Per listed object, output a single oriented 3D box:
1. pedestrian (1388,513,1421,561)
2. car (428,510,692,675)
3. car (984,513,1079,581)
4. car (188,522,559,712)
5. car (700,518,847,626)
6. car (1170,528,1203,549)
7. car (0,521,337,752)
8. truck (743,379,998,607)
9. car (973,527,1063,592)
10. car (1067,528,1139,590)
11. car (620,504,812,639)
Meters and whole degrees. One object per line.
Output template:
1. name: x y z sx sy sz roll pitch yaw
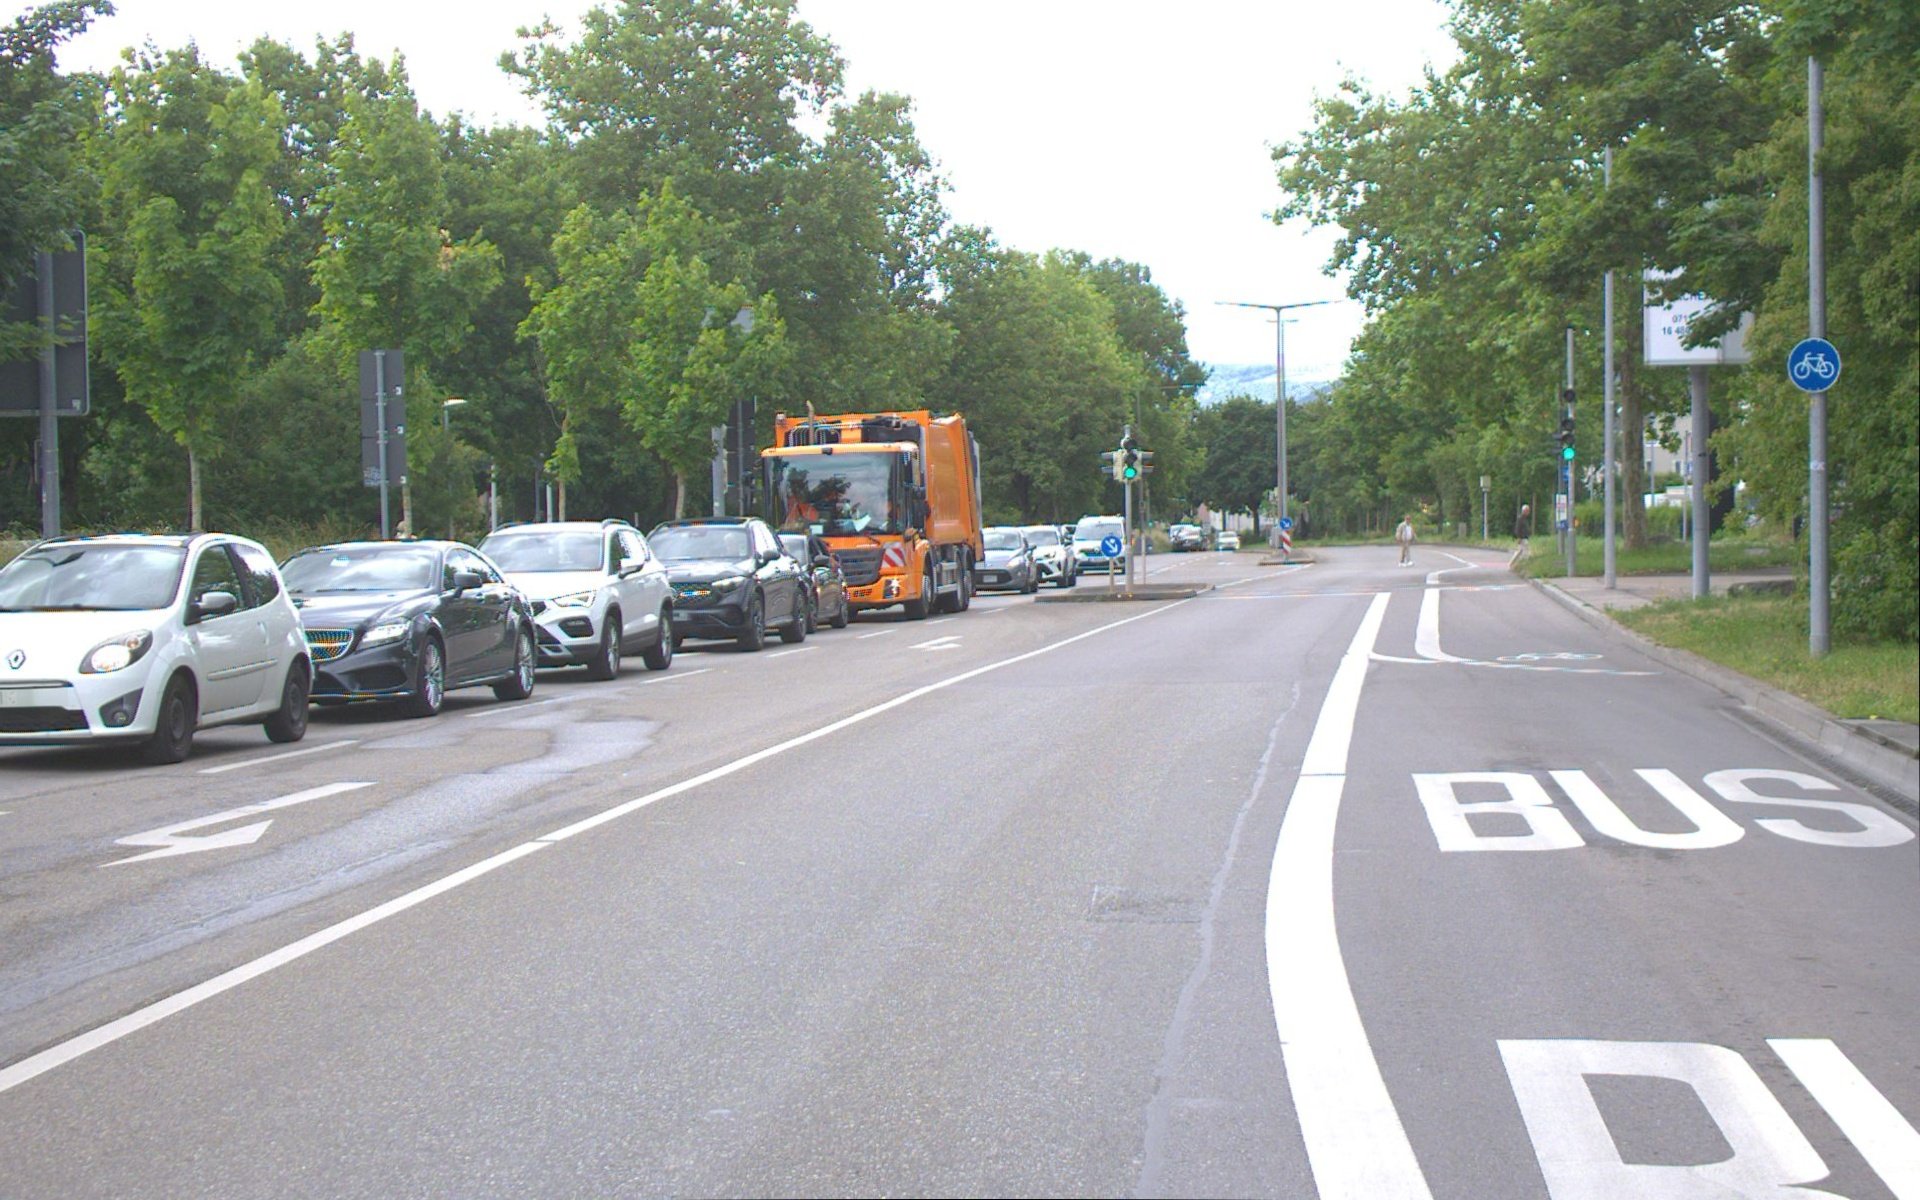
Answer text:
1. pedestrian: 13.727 -1.957 106.119 0.788 1.458 0.749 -1 1 -11
2. car: -4.025 -0.125 35.273 1.731 1.580 4.222 -1 1 7
3. car: 1.768 -1.287 83.604 1.846 1.515 4.814 -3 1 6
4. car: -4.652 0.075 27.993 1.640 1.386 4.884 -1 1 7
5. car: -2.619 -0.424 49.009 1.434 1.452 3.894 -1 1 7
6. car: 13.743 -3.733 208.563 1.772 1.300 3.999 0 1 7
7. car: -5.506 0.184 22.809 1.640 1.386 3.761 -1 1 7
8. truck: -1.334 -1.781 57.918 2.706 3.475 9.992 -1 1 8
9. car: 1.291 -0.908 75.379 1.547 1.326 3.653 -3 1 7
10. car: 4.480 -1.299 106.979 1.846 1.797 4.649 -3 1 6
11. car: -2.990 -0.389 42.876 1.640 1.580 4.060 -1 1 7
